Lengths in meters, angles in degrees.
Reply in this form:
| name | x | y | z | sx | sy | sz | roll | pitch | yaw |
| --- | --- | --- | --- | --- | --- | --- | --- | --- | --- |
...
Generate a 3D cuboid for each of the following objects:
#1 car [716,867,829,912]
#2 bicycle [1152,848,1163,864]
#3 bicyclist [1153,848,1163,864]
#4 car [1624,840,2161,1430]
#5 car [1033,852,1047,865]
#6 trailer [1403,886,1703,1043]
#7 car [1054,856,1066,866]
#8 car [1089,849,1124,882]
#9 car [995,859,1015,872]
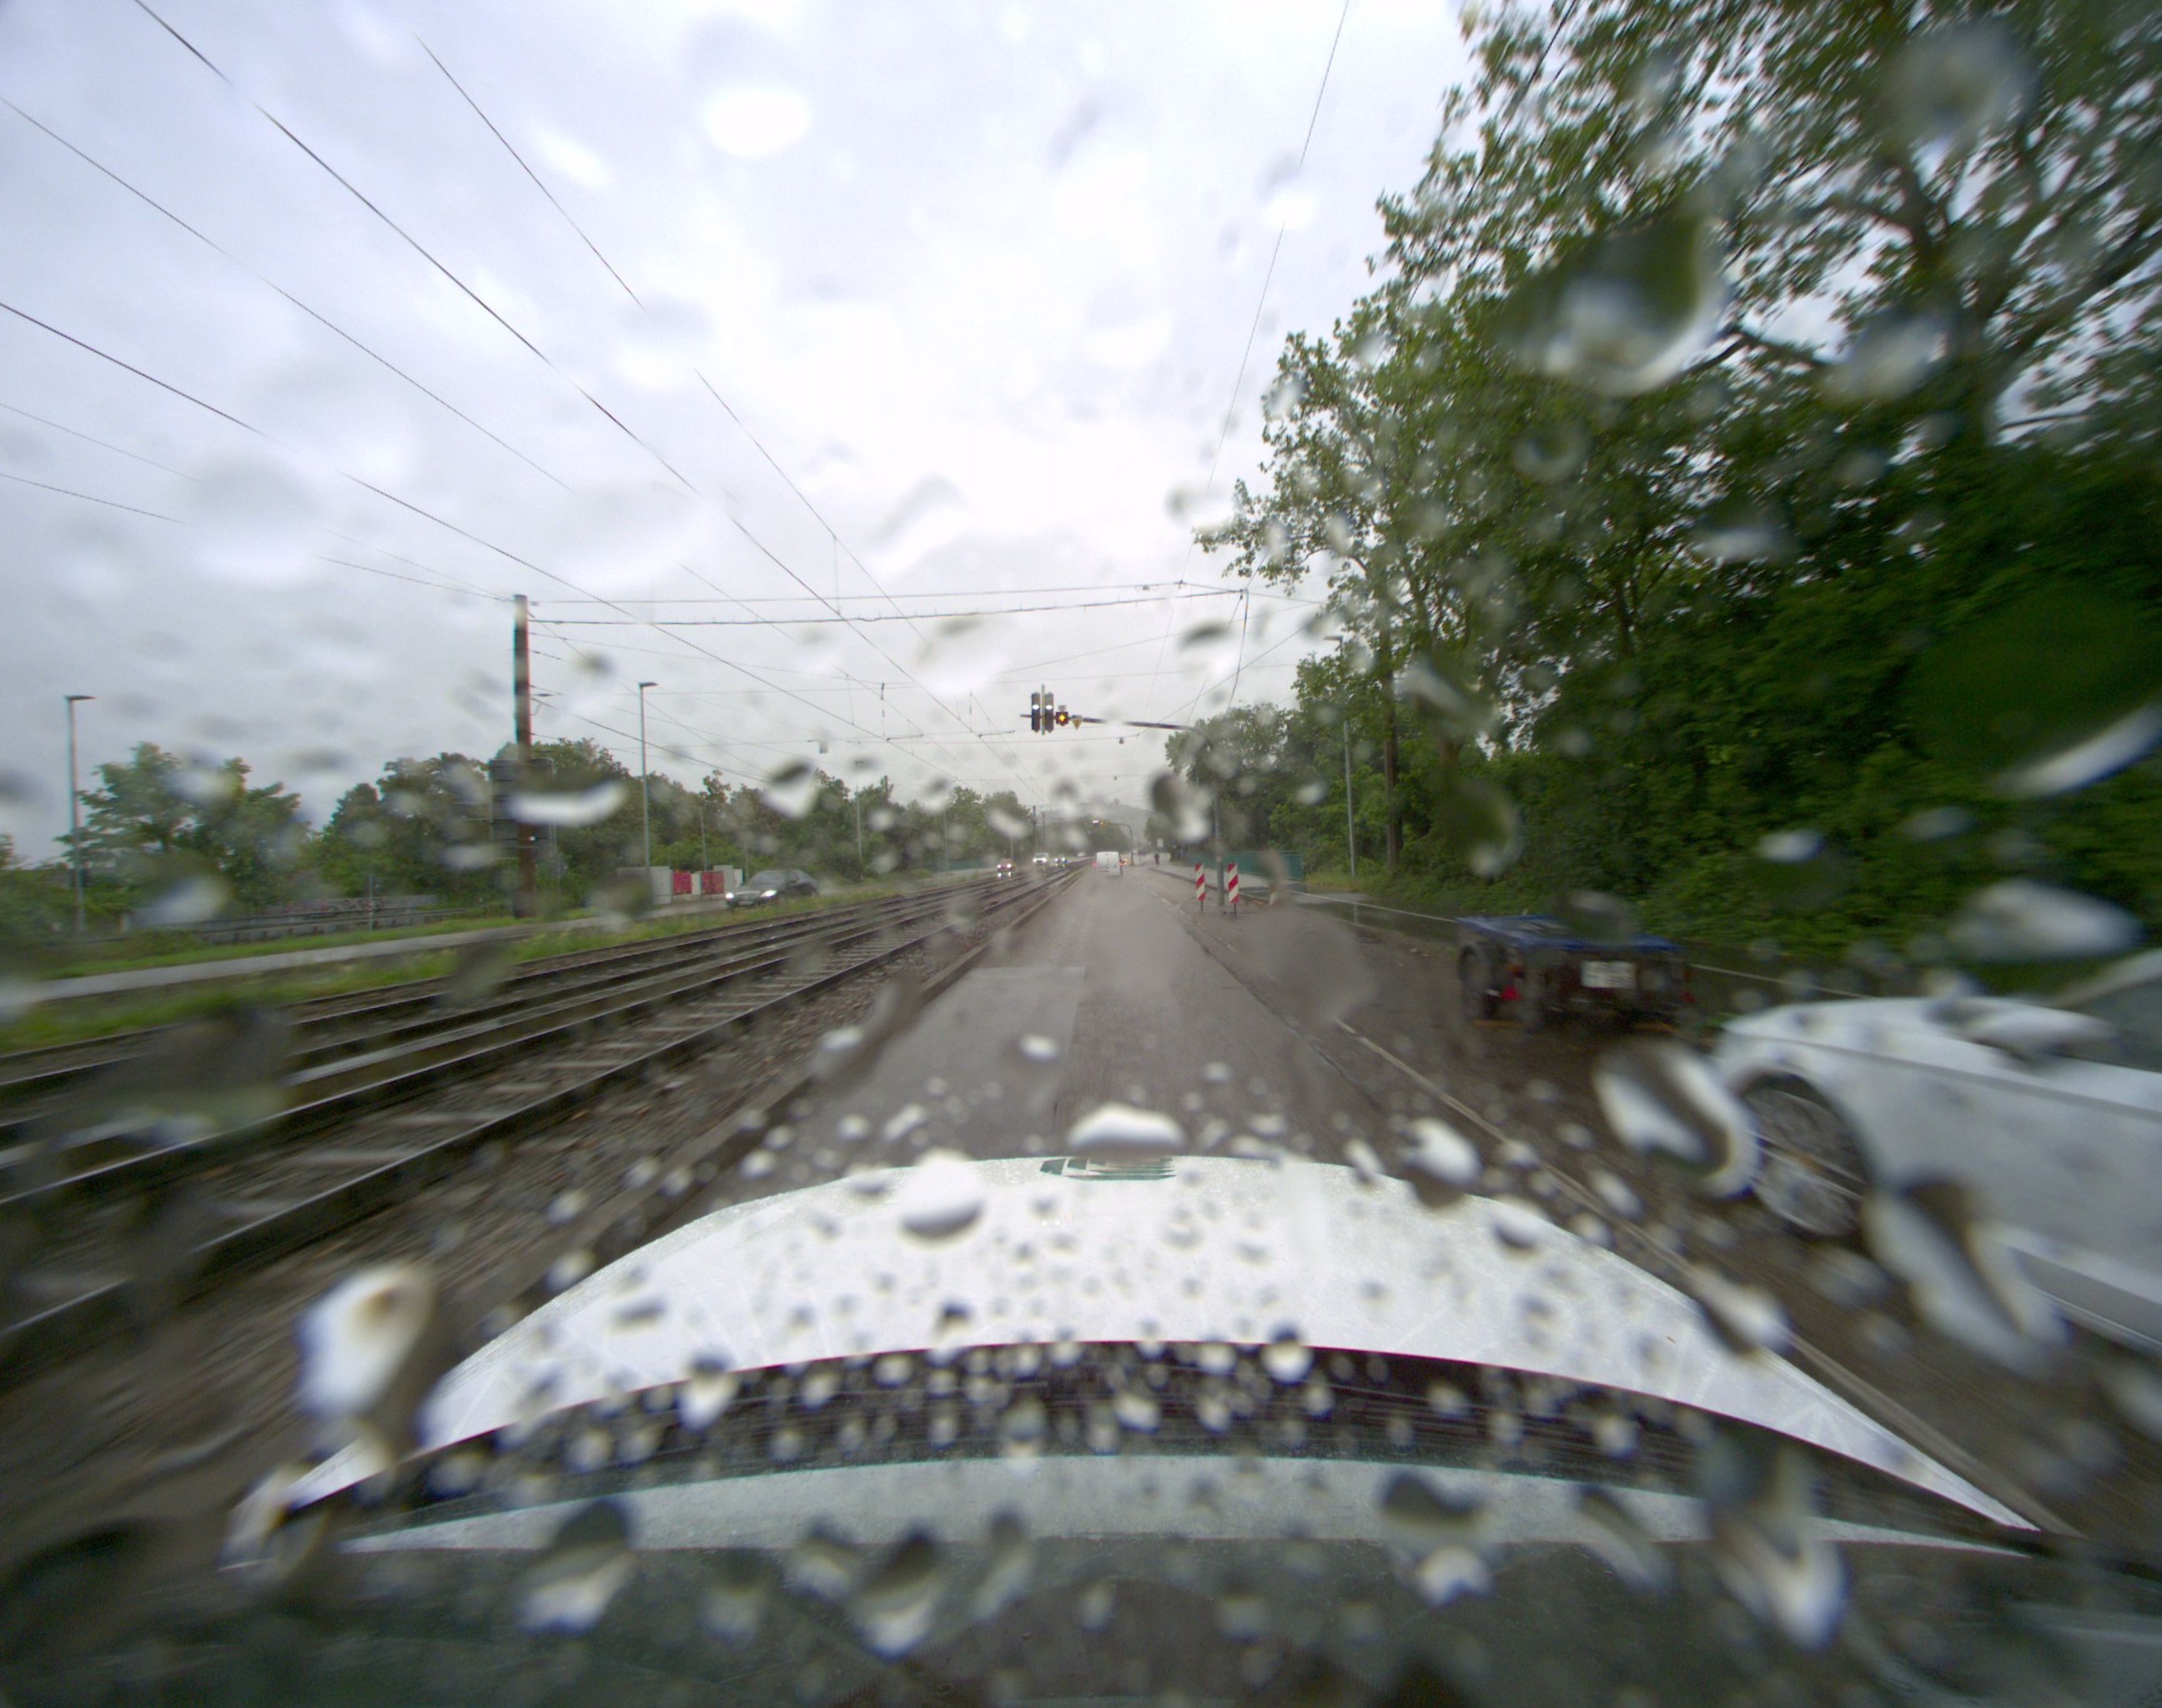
| name | x | y | z | sx | sy | sz | roll | pitch | yaw |
| --- | --- | --- | --- | --- | --- | --- | --- | --- | --- |
| car | -11.348 | 1.257 | 30.415 | 1.986 | 1.404 | 5.387 | -2 | 0 | 1 |
| bicycle | 9.968 | 0.321 | 106.030 | 1.102 | 2.014 | 3.052 | -1 | -1 | 1 |
| bicyclist | 9.977 | 0.310 | 106.011 | 1.096 | 2.014 | 1.675 | -1 | -1 | 1 |
| car | 3.626 | 0.708 | 1.924 | 1.812 | 1.486 | 4.482 | 0 | 0 | 2 |
| car | -6.350 | 0.745 | 126.014 | 1.989 | 2.014 | 3.995 | -1 | -1 | -4 |
| trailer | 4.251 | 0.902 | 7.907 | 1.369 | 1.046 | 3.450 | 0 | 0 | 9 |
| car | -3.863 | 1.321 | 151.839 | 1.985 | 1.948 | 4.003 | -1 | -1 | 3 |
| car | 1.548 | 0.659 | 48.348 | 1.985 | 1.849 | 4.003 | -1 | 0 | 3 |
| car | -8.768 | 1.337 | 94.620 | 1.813 | 1.398 | 4.001 | -2 | 0 | 1 |
